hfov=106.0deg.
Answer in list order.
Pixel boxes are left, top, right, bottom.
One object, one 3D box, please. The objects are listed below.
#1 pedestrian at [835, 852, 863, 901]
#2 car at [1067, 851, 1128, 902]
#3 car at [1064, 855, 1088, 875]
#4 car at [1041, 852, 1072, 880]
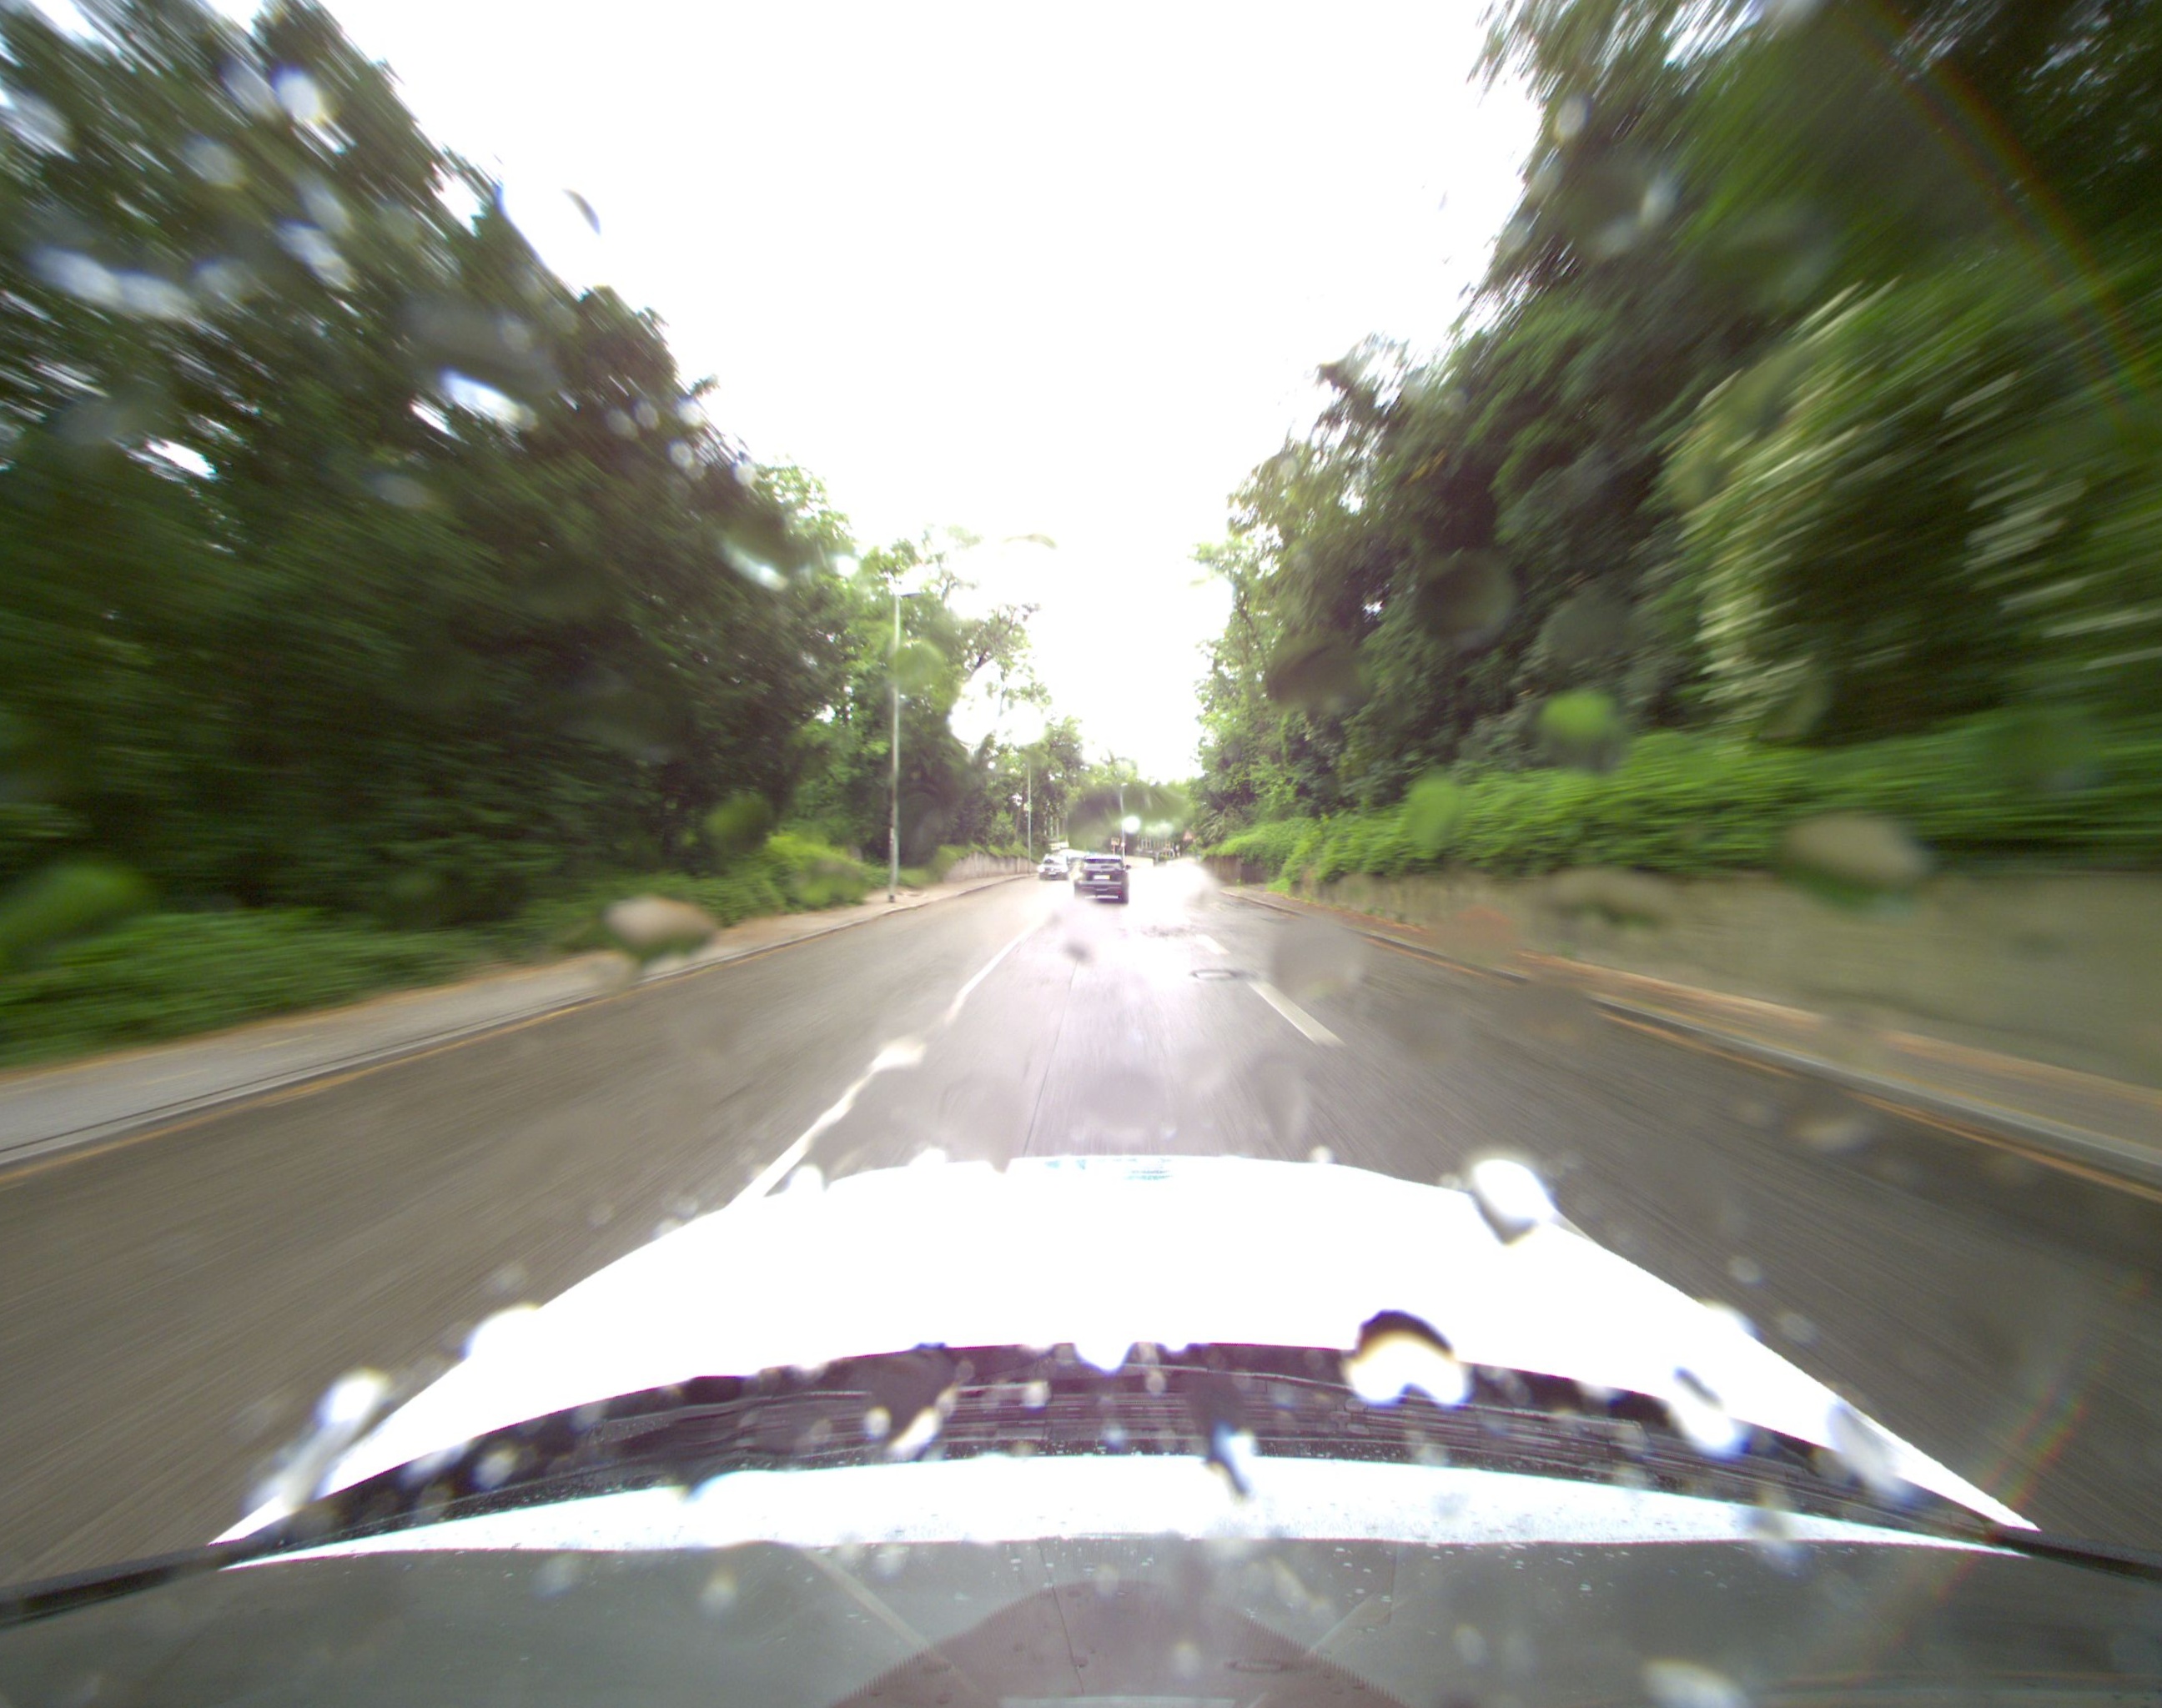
[{"bbox_3d":[-7.955,0.757,27.864,0.711,1.644,0.706,-1,0,-35],"label":"pedestrian"},{"bbox_3d":[0.587,0.733,28.246,1.921,1.613,4.001,-1,0,2],"label":"car"},{"bbox_3d":[-0.353,0.845,63.001,1.669,1.496,3.461,-1,0,1],"label":"car"},{"bbox_3d":[-1.563,0.759,52.560,1.824,1.711,4.000,-1,0,0],"label":"car"}]
